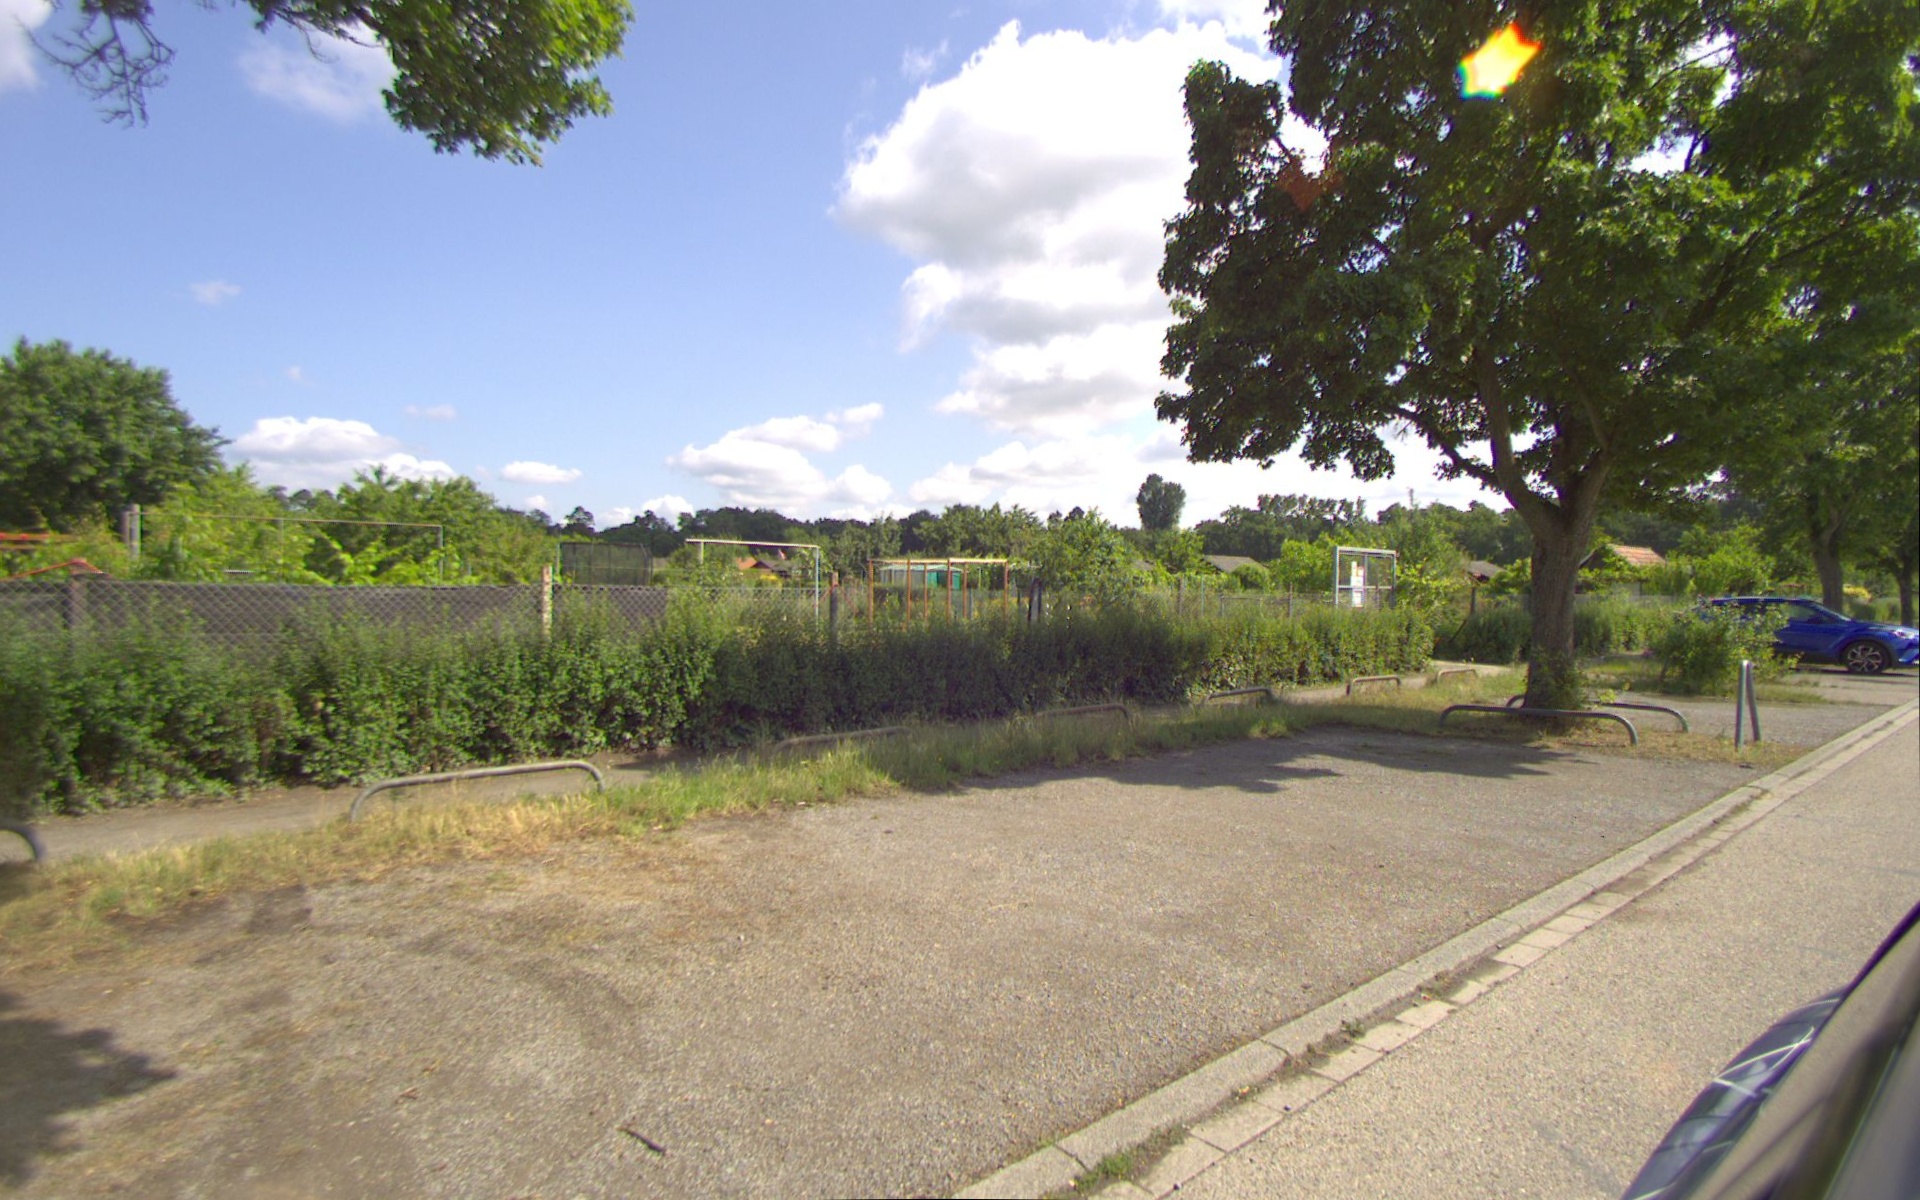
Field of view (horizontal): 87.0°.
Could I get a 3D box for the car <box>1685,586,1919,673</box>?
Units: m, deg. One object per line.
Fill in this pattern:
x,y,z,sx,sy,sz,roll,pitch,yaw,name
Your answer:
17.857,0.553,21.143,1.750,1.602,4.112,0,1,-42,car

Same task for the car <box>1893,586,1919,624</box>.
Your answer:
46.811,0.239,47.734,1.965,1.772,3.925,-1,0,-41,car
